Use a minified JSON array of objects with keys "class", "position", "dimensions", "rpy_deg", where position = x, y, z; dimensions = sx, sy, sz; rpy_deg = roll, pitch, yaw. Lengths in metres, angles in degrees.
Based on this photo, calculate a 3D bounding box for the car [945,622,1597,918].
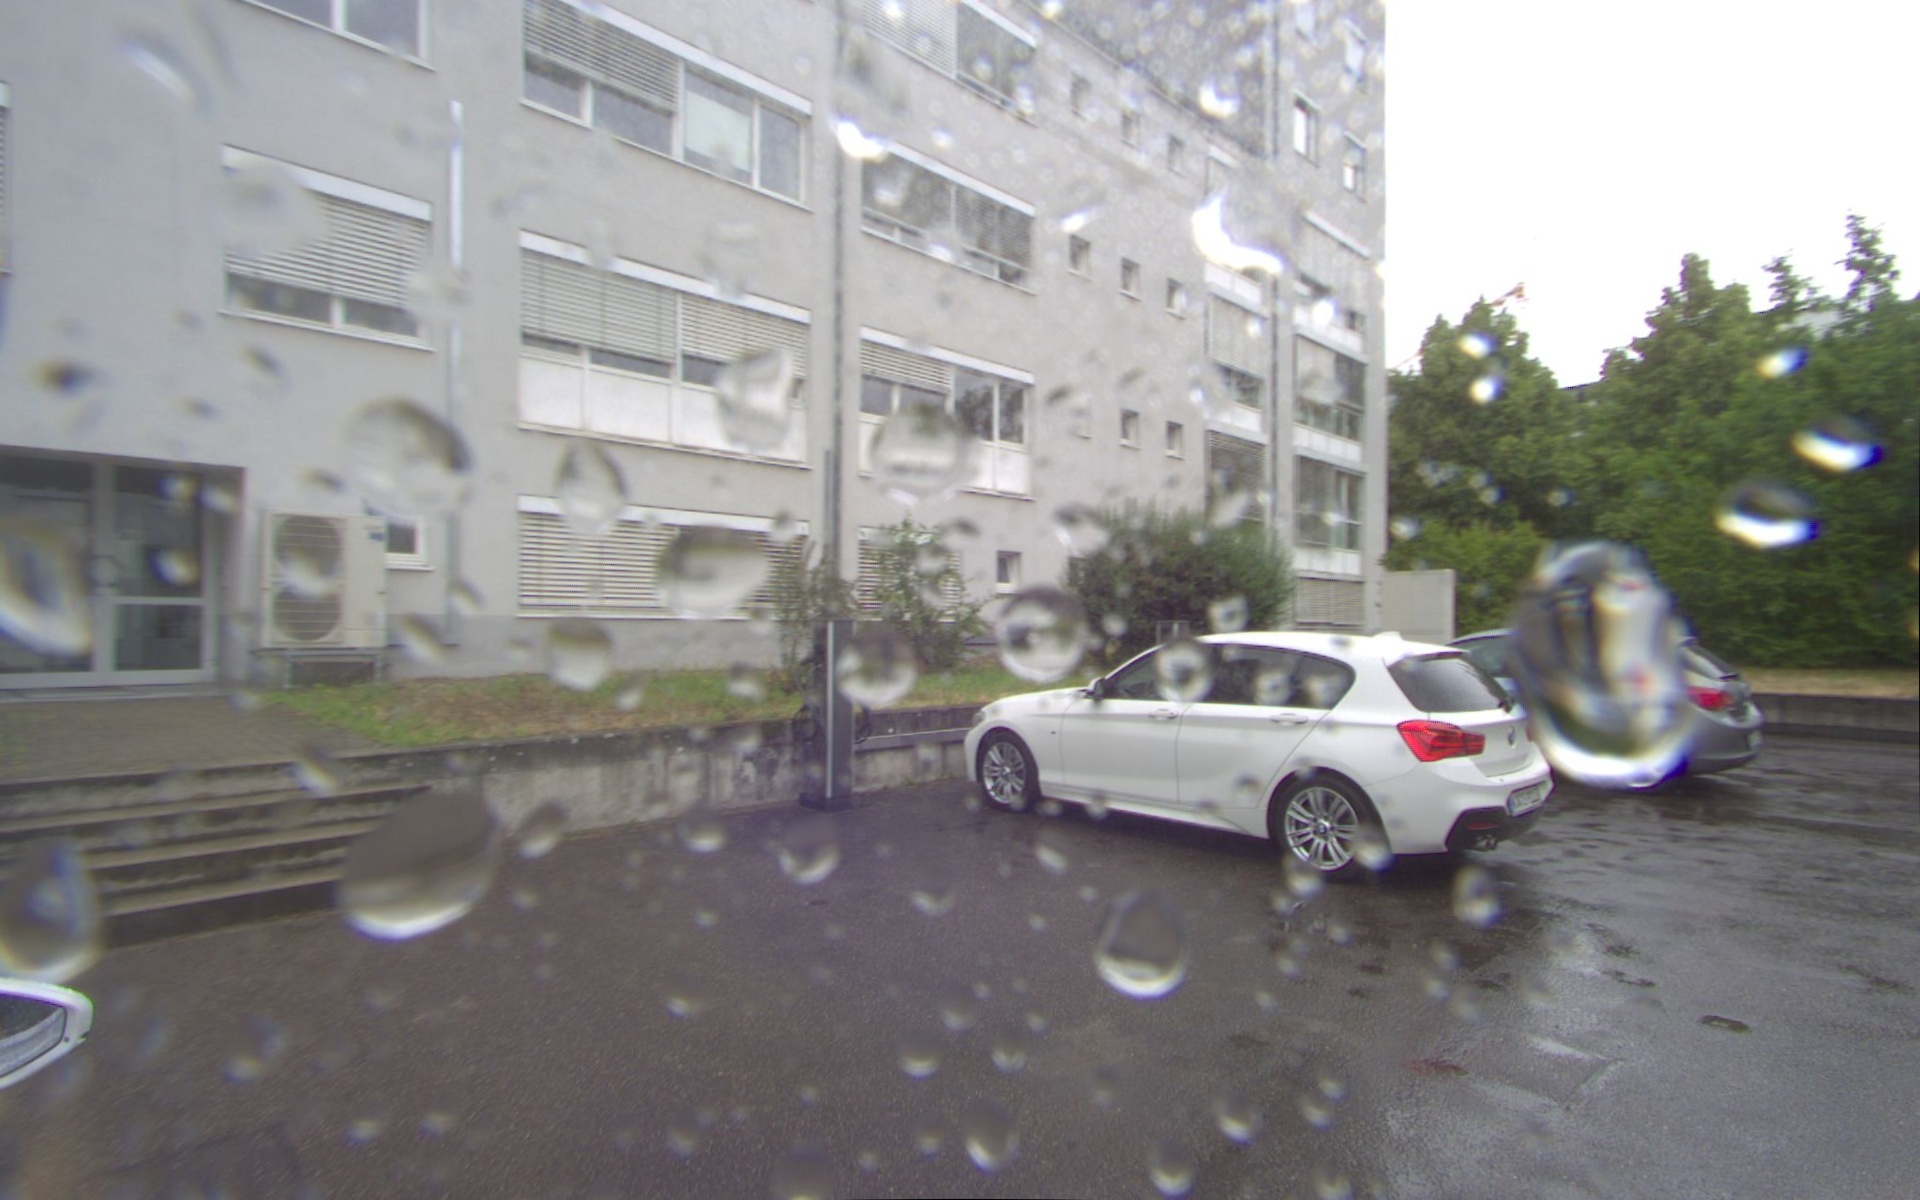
[{"class":"car","position":[2.012,0.943,7.388],"dimensions":[1.980,1.508,4.182],"rpy_deg":[2,-2,-42]}]

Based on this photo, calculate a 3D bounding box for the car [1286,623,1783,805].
[{"class":"car","position":[5.876,1.028,10.615],"dimensions":[1.980,1.508,4.182],"rpy_deg":[2,-2,-42]}]
